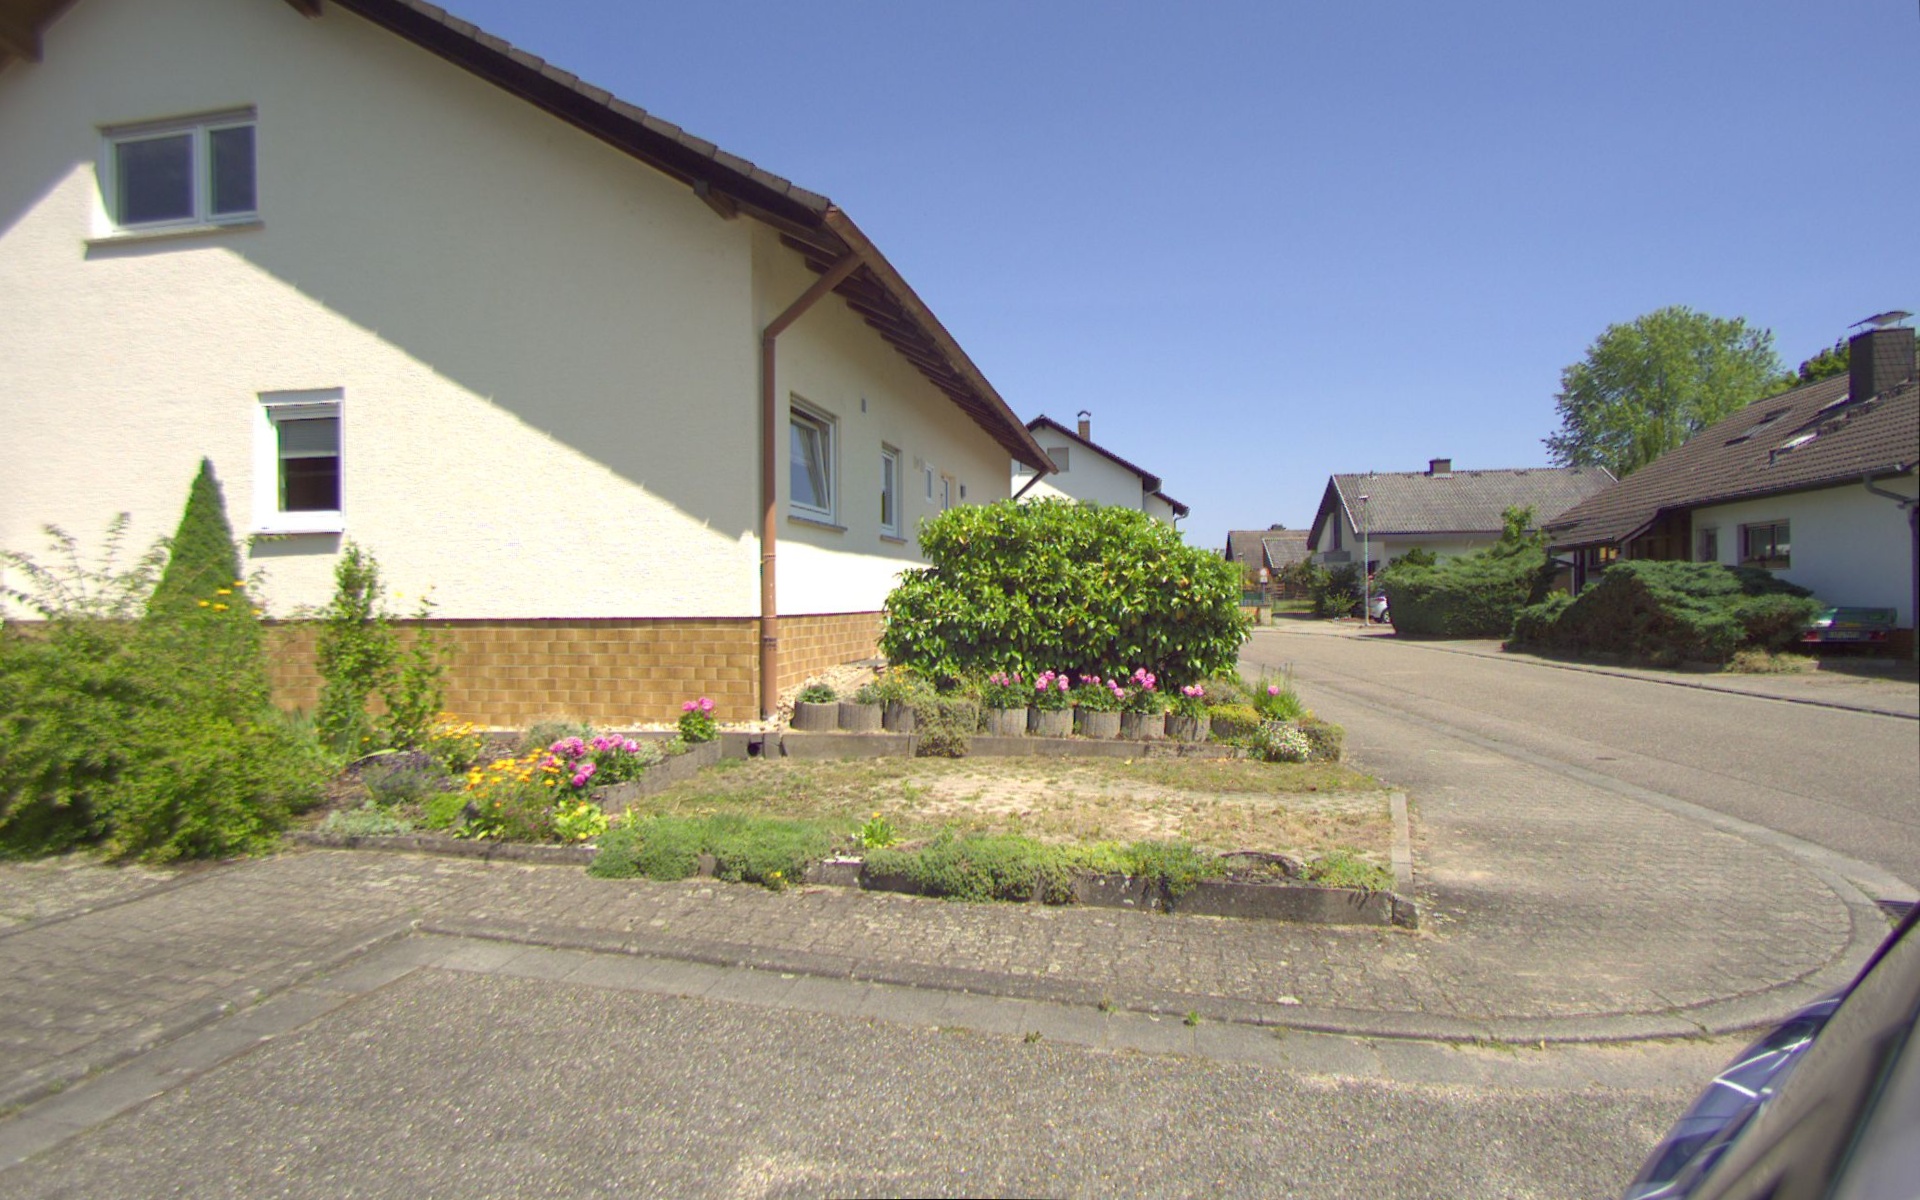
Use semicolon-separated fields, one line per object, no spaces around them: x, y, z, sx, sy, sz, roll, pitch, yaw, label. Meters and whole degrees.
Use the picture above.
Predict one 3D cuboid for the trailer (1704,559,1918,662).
15.623;0.147;18.801;1.567;1.693;3.286;-2;1;11;trailer
